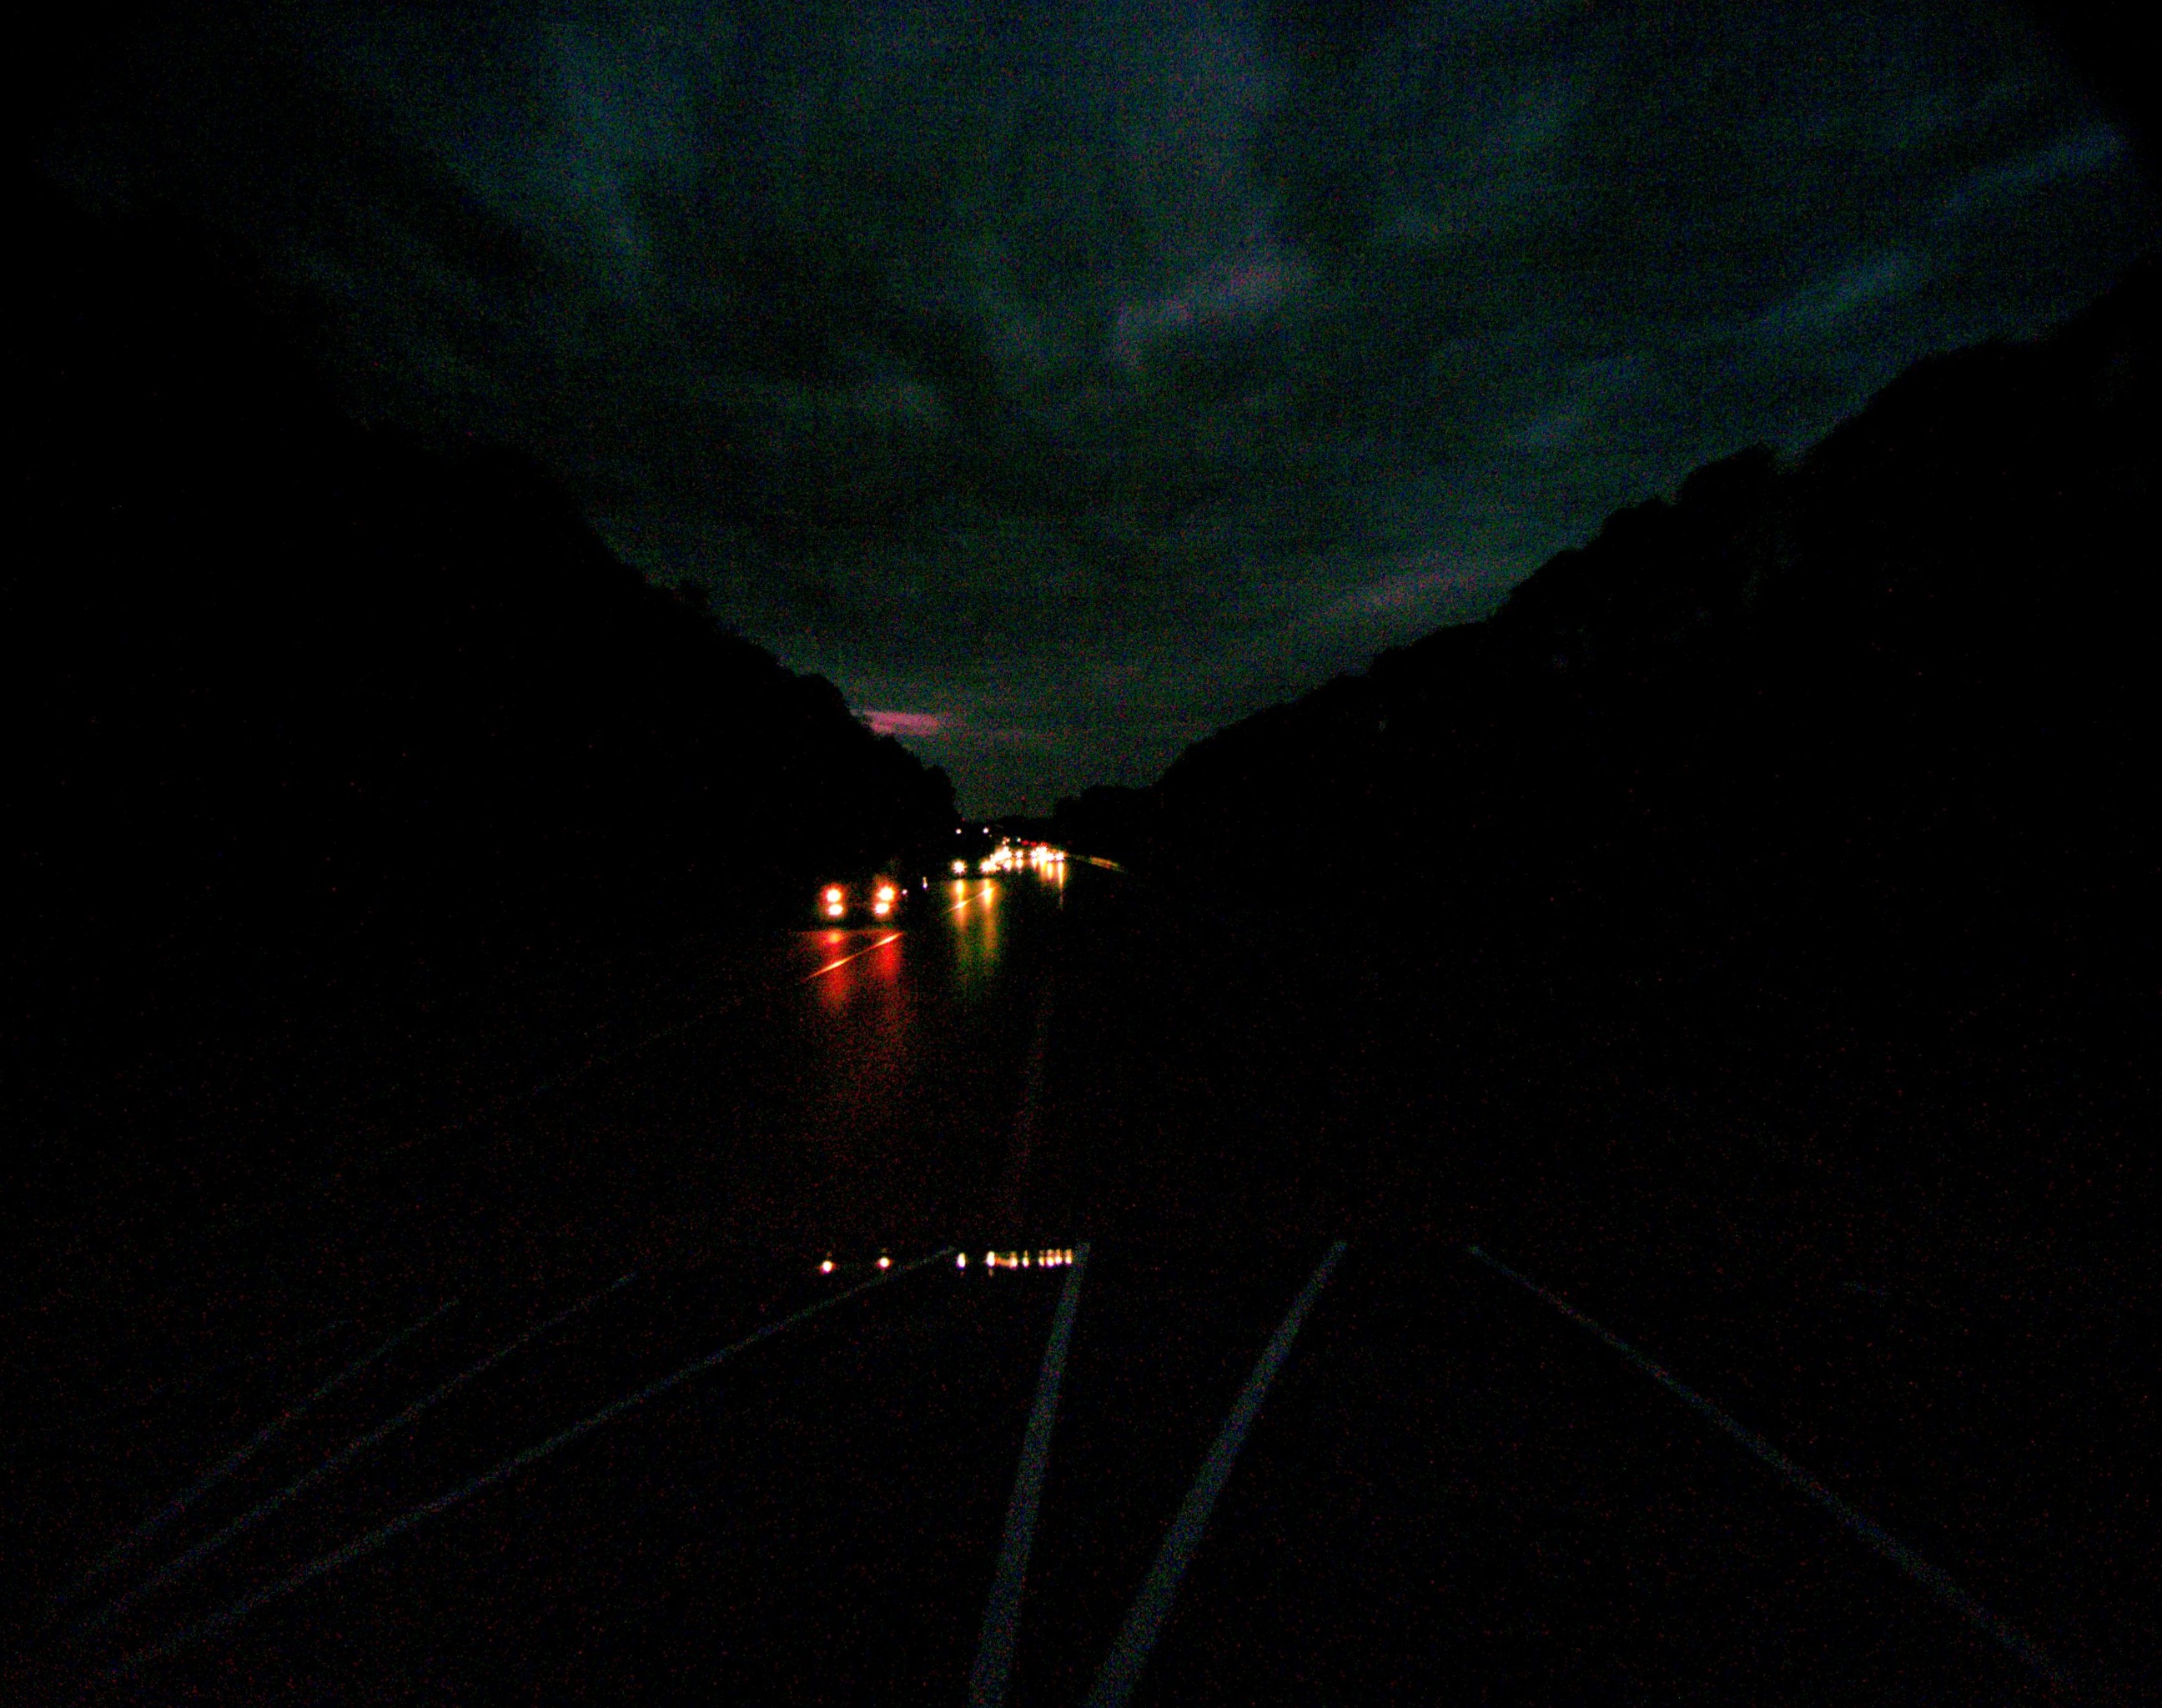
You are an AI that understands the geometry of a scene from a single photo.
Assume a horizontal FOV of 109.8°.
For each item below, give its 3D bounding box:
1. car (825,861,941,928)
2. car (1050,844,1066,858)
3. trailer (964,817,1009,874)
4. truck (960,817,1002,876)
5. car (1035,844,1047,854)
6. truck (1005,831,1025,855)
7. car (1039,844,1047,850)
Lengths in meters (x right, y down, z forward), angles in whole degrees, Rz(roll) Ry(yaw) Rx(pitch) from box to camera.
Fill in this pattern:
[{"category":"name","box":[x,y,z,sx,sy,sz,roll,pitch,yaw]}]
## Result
[{"category":"car","box":[-5.188,0.994,20.624,1.695,1.481,4.949,-2,0,1]},{"category":"car","box":[-3.077,-0.396,102.191,1.870,1.701,4.583,-2,1,0]},{"category":"trailer","box":[-7.493,-0.765,61.741,2.490,4.050,13.497,-2,1,-3]},{"category":"truck","box":[-7.140,-0.560,54.931,2.498,3.945,5.587,-2,2,-3]},{"category":"car","box":[-7.253,-0.853,138.621,1.924,1.706,4.939,-2,1,-5]},{"category":"truck","box":[-11.880,-2.022,137.470,3.342,3.945,13.528,-2,1,-4]},{"category":"car","box":[-10.150,-1.783,202.342,1.696,1.481,4.946,-1,1,-5]}]
